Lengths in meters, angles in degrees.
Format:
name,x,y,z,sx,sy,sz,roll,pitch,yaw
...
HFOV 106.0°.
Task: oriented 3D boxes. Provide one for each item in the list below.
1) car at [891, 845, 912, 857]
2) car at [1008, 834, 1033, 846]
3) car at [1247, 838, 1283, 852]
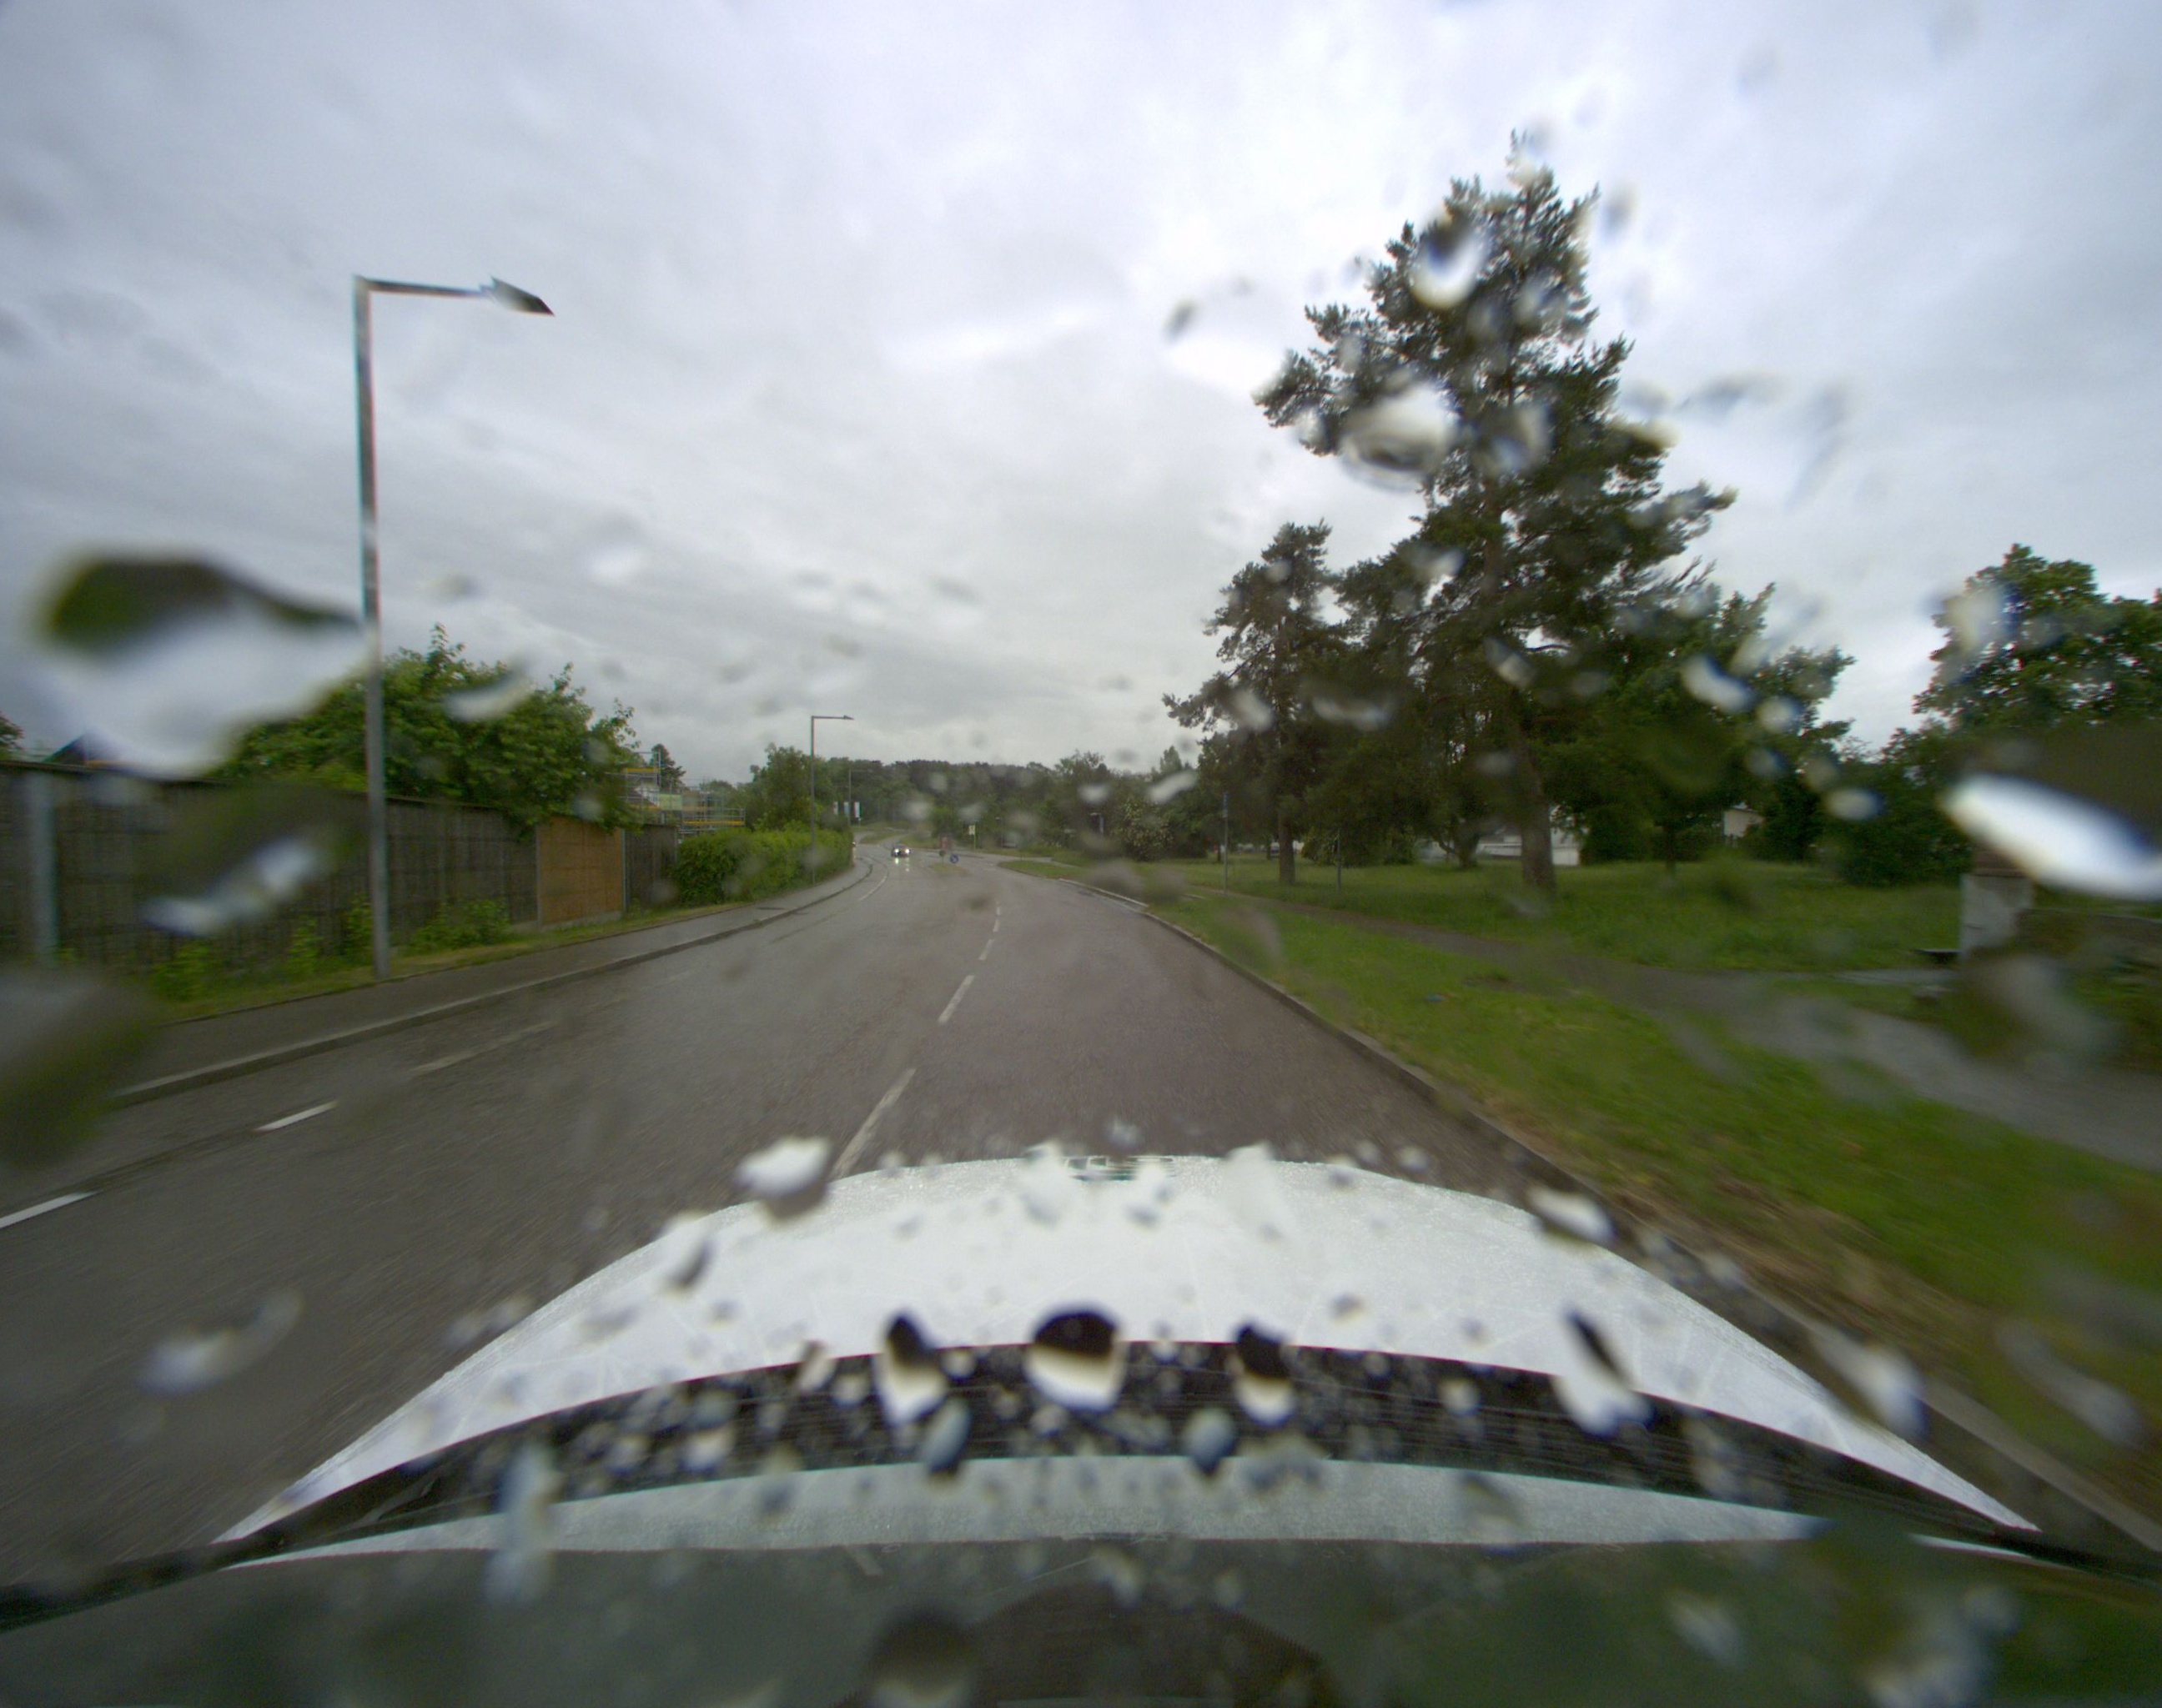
name,x,y,z,sx,sy,sz,roll,pitch,yaw
car,-21.929,-0.378,99.239,1.464,1.355,3.500,1,1,-30
car,-9.635,-2.223,128.837,3.379,1.690,2.012,-1,-3,29
car,26.096,-1.280,115.632,4.500,1.750,1.924,-3,-1,43
